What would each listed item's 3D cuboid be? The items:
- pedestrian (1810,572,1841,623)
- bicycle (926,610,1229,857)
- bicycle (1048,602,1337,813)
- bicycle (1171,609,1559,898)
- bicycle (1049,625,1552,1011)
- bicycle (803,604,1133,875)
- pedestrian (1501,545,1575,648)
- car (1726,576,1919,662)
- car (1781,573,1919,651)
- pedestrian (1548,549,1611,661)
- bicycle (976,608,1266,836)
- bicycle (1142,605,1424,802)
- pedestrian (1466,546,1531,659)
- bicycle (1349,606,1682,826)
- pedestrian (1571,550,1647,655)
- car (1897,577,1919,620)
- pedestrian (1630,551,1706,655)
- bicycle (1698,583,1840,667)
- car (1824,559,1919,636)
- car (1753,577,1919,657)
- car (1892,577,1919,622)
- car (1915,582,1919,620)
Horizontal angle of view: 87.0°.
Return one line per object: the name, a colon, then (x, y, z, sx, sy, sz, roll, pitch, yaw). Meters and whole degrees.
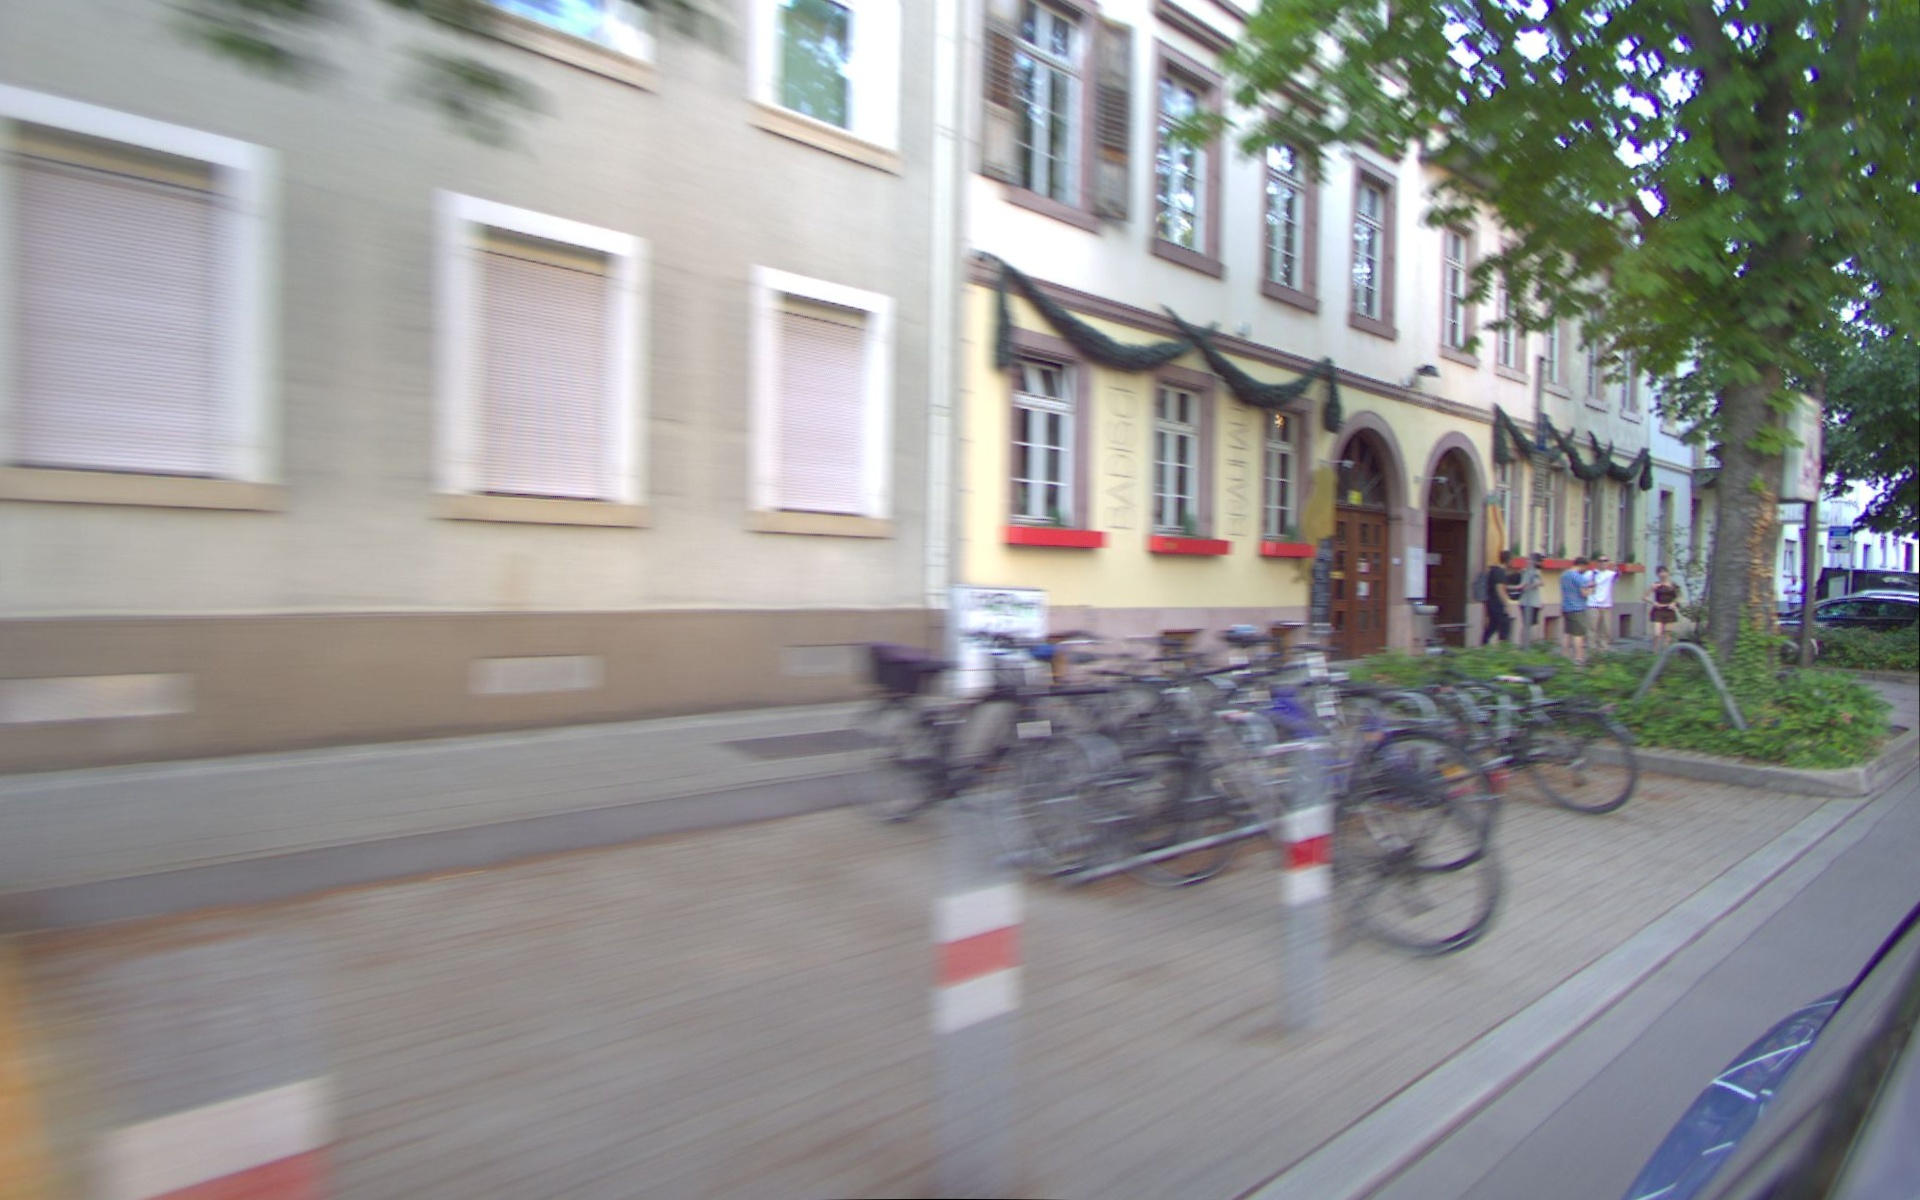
pedestrian: (27.734, -0.080, 32.426, 0.724, 1.619, 0.670, 0, 0, -40)
bicycle: (0.605, 0.674, 5.832, 0.492, 1.121, 1.796, 0, 3, -45)
bicycle: (1.517, 0.642, 6.843, 1.793, 1.157, 0.641, 4, 3, 42)
bicycle: (2.074, 0.699, 5.426, 0.590, 1.193, 1.834, 0, 3, -40)
bicycle: (1.350, 0.751, 4.251, 1.835, 1.149, 0.734, 4, 3, 40)
bicycle: (-0.018, 0.650, 5.529, 1.793, 1.157, 0.659, 4, 3, 42)
pedestrian: (10.174, -0.071, 17.834, 0.729, 1.760, 0.729, 2, 2, -13)
car: (18.341, 0.388, 20.304, 1.853, 1.410, 4.410, -1, 5, -42)
car: (21.933, 0.287, 23.842, 1.683, 1.597, 3.691, 0, 5, -39)
pedestrian: (10.095, 0.070, 16.490, 0.612, 1.760, 0.616, 1, 2, -40)
bicycle: (0.926, 0.665, 6.244, 0.492, 1.121, 1.796, 0, 3, -45)
bicycle: (2.247, 0.656, 7.219, 1.795, 1.142, 0.653, 4, 3, 45)
pedestrian: (8.749, 0.025, 16.427, 0.774, 1.760, 0.676, 4, 2, 34)
bicycle: (3.690, 0.689, 6.868, 0.661, 1.193, 1.834, 0, 3, -40)
pedestrian: (11.254, 0.031, 17.559, 0.732, 1.760, 0.716, 2, 2, -20)
car: (35.110, 0.079, 34.949, 1.668, 1.440, 3.802, 0, 5, -41)
pedestrian: (12.307, 0.043, 17.604, 0.711, 1.760, 0.710, 2, 2, -20)
bicycle: (13.824, 0.399, 17.332, 1.793, 1.247, 0.663, 6, 4, 41)
car: (27.601, 0.007, 28.426, 2.001, 2.035, 4.702, 0, 5, -40)
car: (20.050, 0.367, 22.058, 1.893, 1.454, 3.997, 0, 5, -41)
car: (37.161, 0.147, 36.756, 1.910, 1.597, 4.602, 0, 5, -41)
car: (39.043, 0.217, 38.164, 1.785, 1.446, 4.088, 0, 5, -38)
